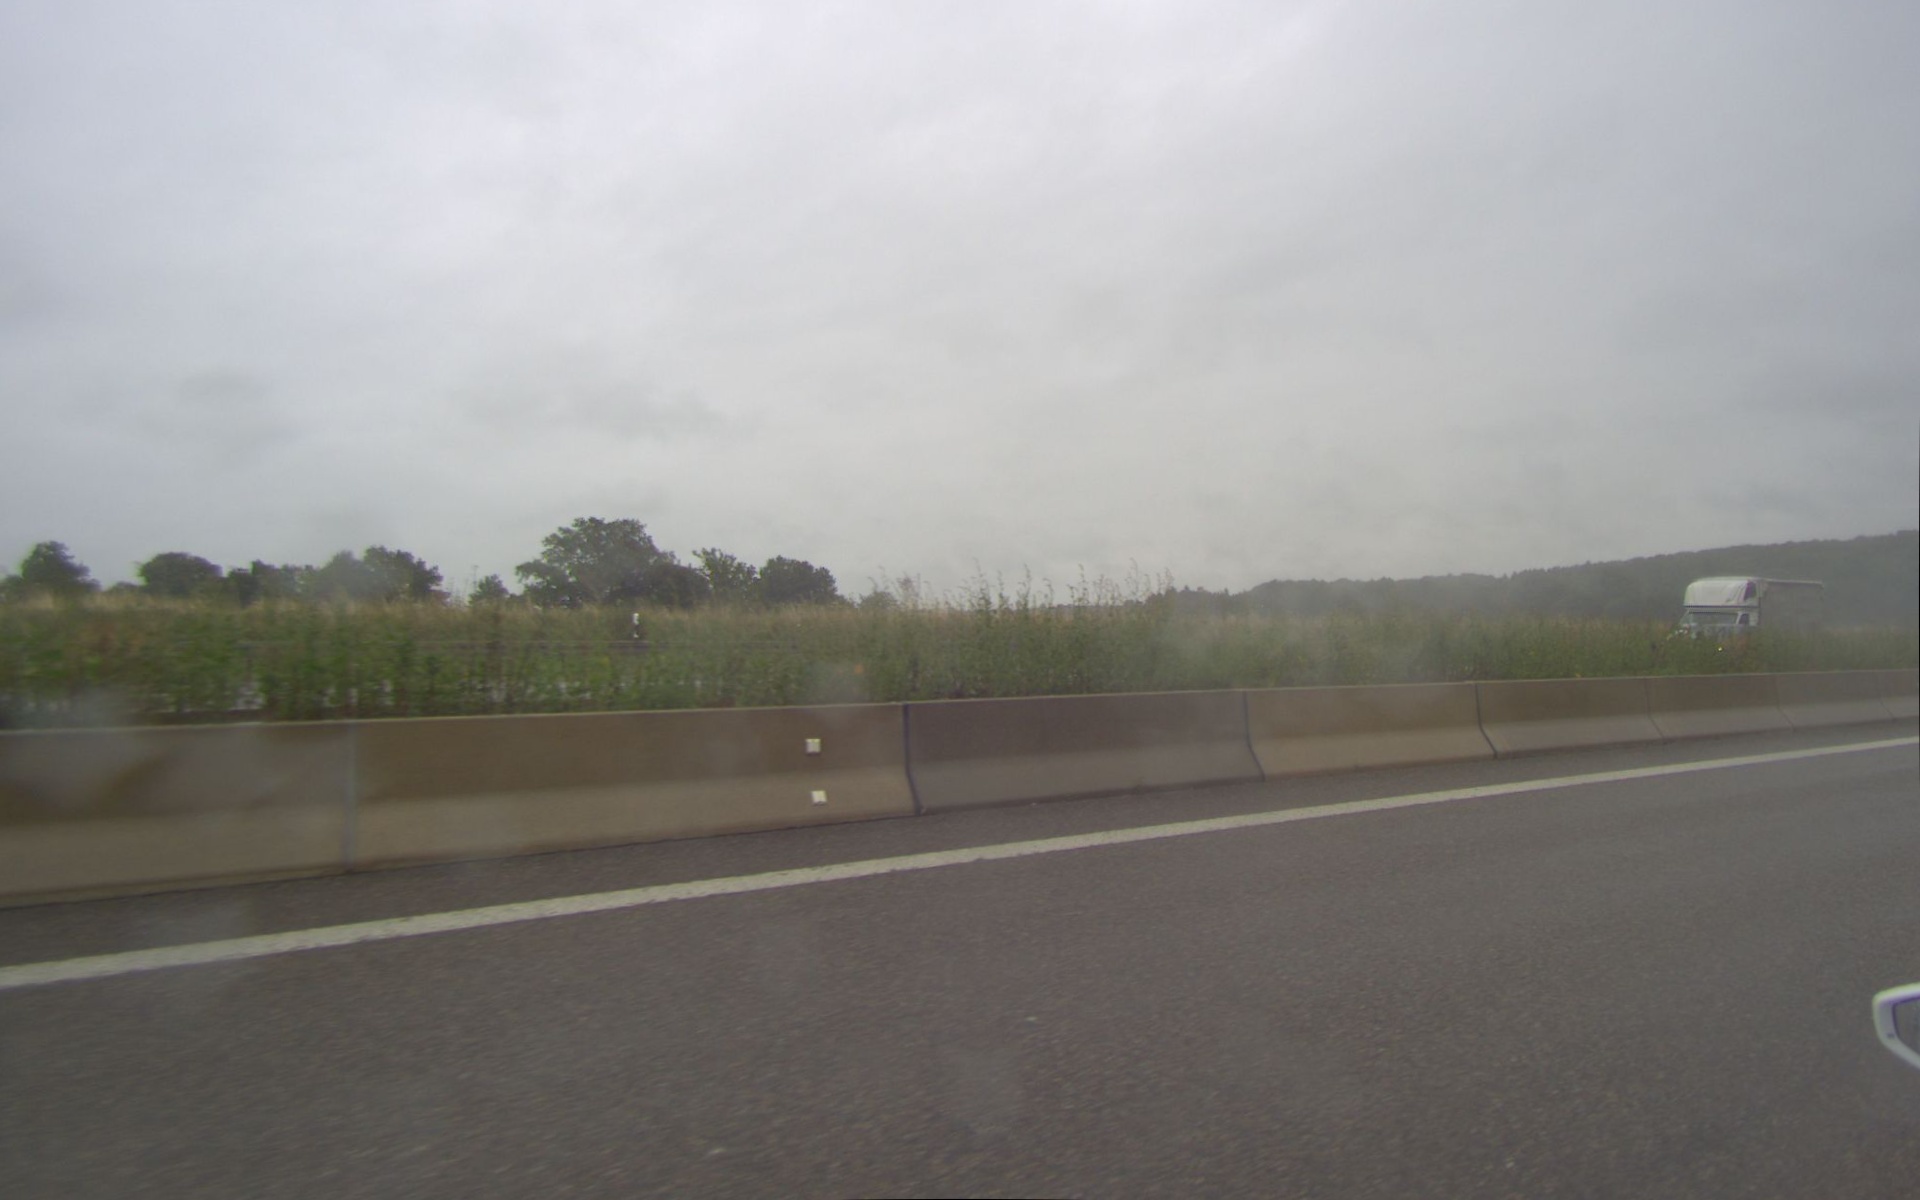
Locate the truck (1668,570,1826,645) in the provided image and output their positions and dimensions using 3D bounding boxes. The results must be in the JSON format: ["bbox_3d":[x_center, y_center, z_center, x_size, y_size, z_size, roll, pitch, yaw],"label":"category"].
[{"bbox_3d":[30.033,0.327,38.257,6.709,2.479,2.165,3,-1,-28],"label":"truck"}]
